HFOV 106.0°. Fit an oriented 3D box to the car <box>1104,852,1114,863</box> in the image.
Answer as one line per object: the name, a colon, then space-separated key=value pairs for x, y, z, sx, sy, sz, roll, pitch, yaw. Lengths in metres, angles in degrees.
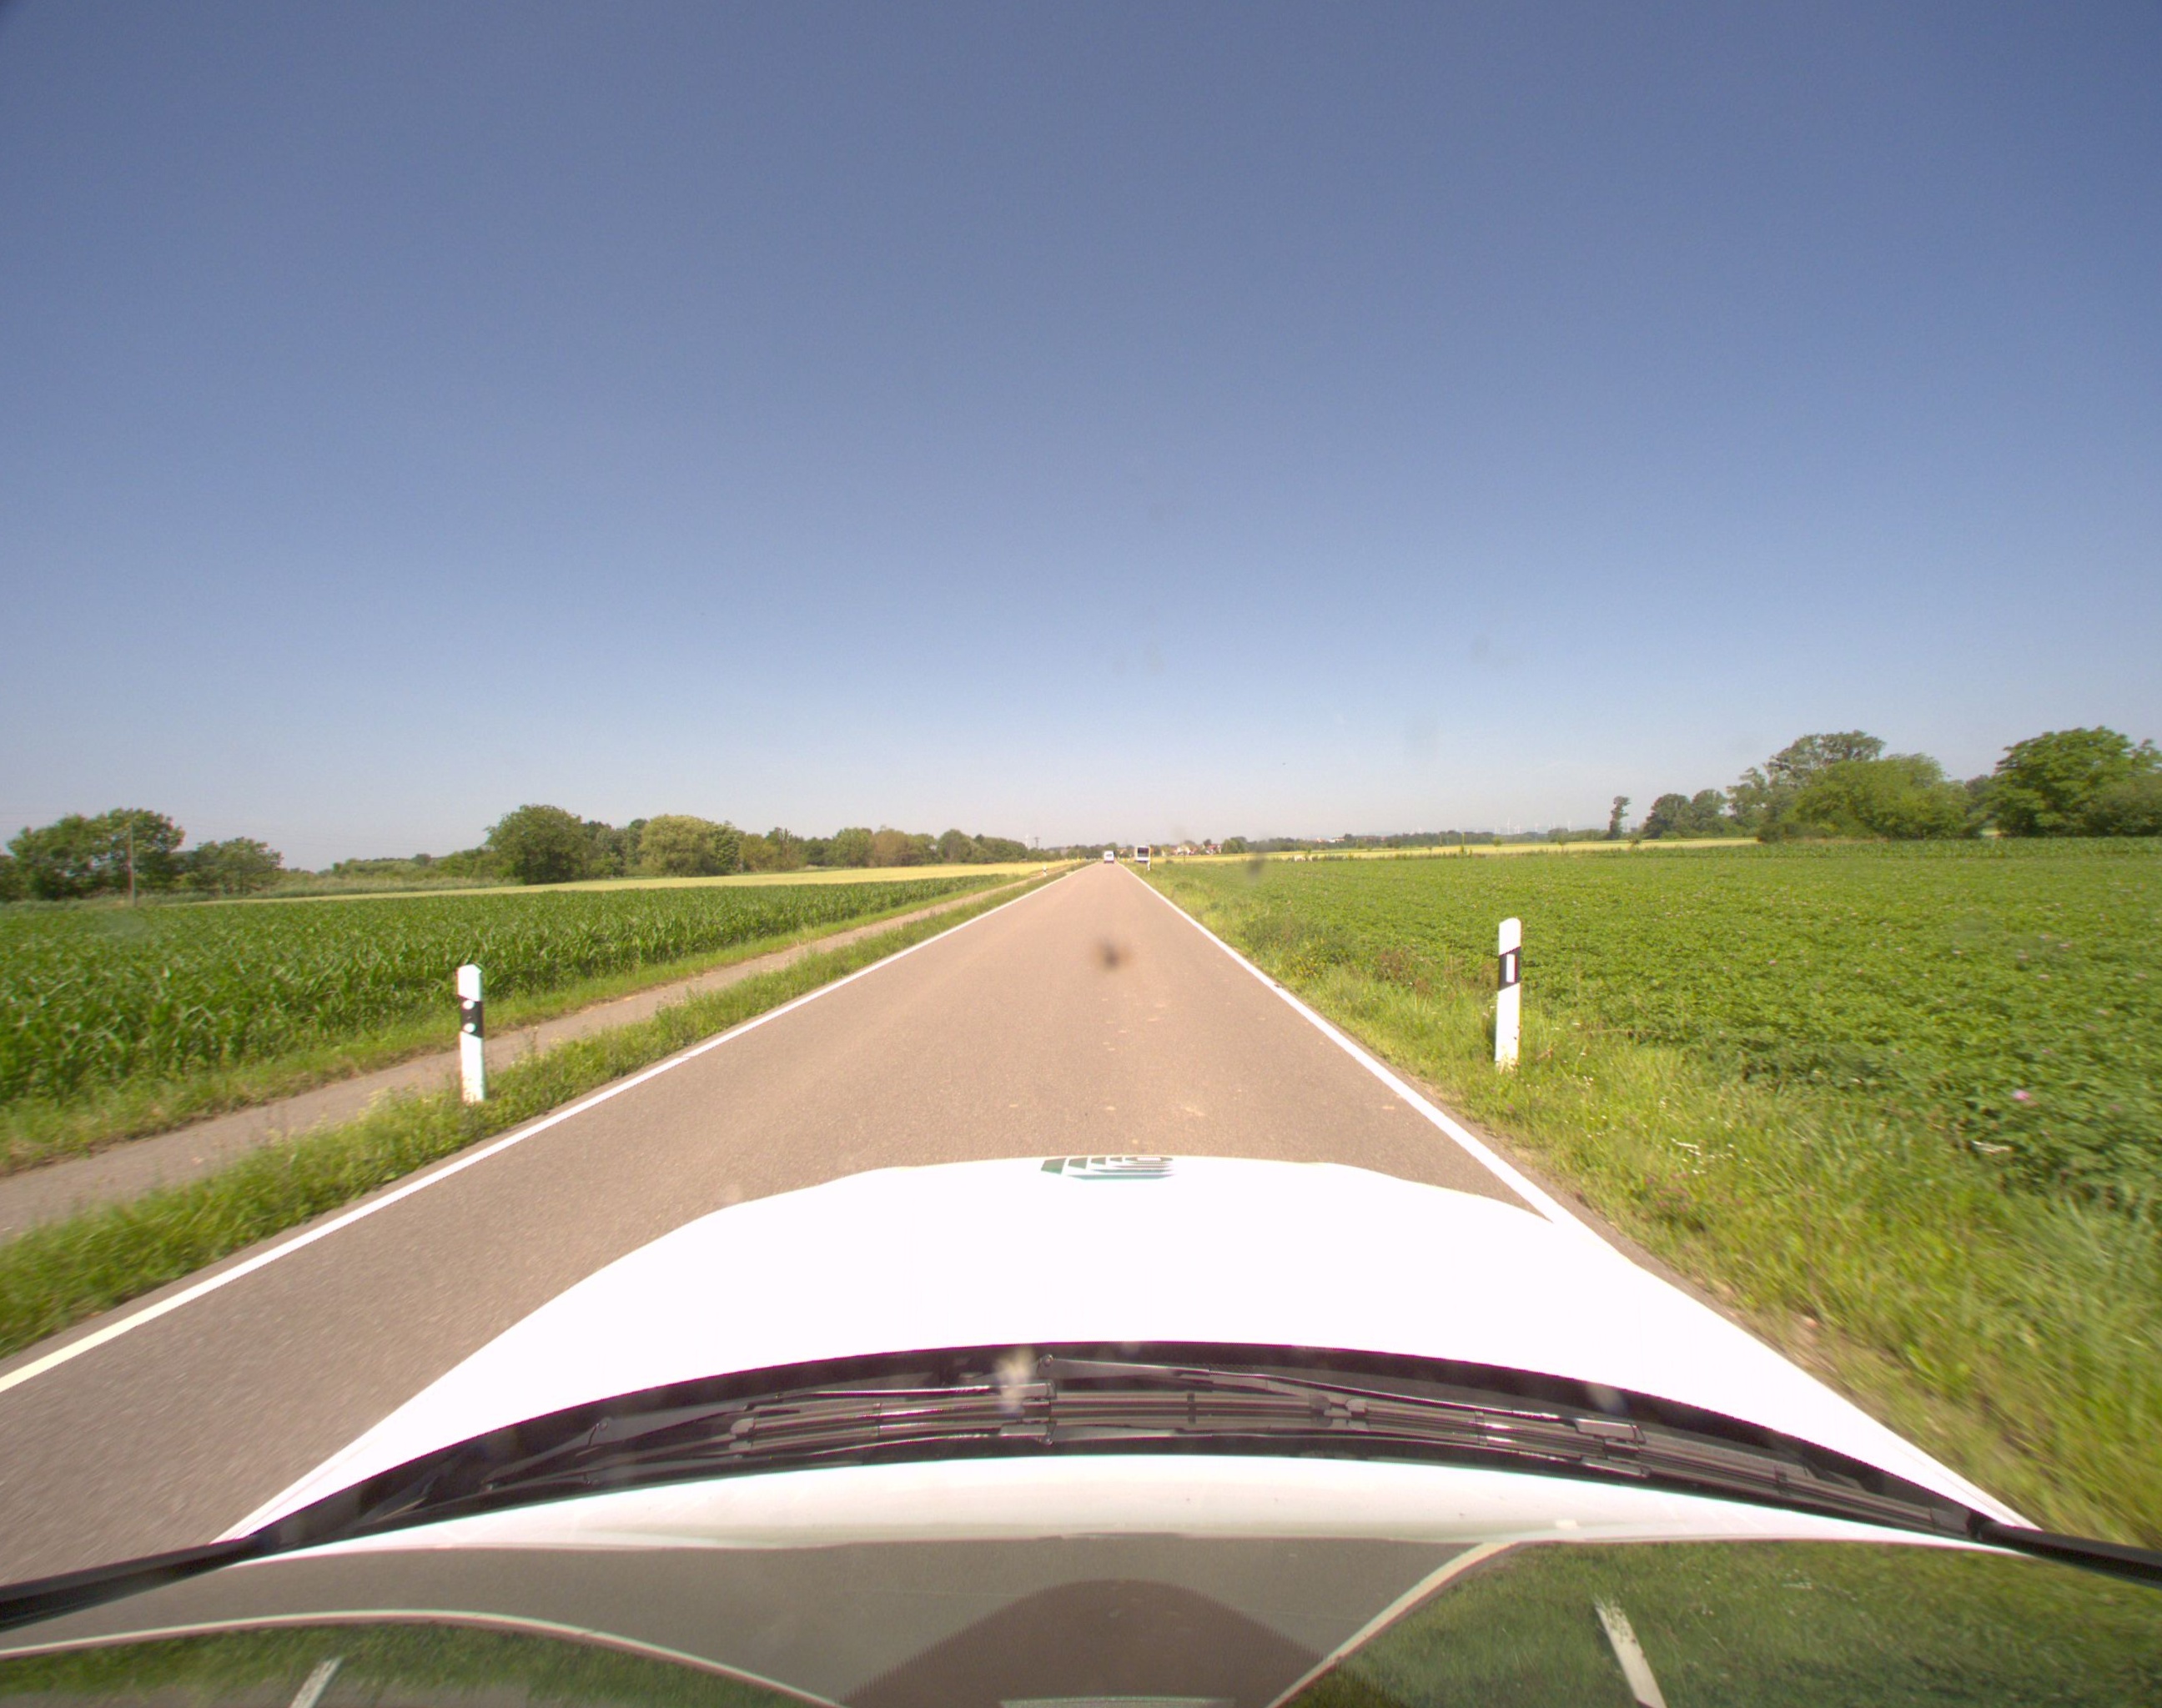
car: x=5.722 y=0.772 z=168.063 sx=2.099 sy=2.304 sz=5.498 roll=0 pitch=0 yaw=2

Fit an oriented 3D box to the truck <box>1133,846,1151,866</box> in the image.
truck: x=9.397 y=0.362 z=126.348 sx=2.328 sy=2.942 sz=7.007 roll=1 pitch=0 yaw=0
